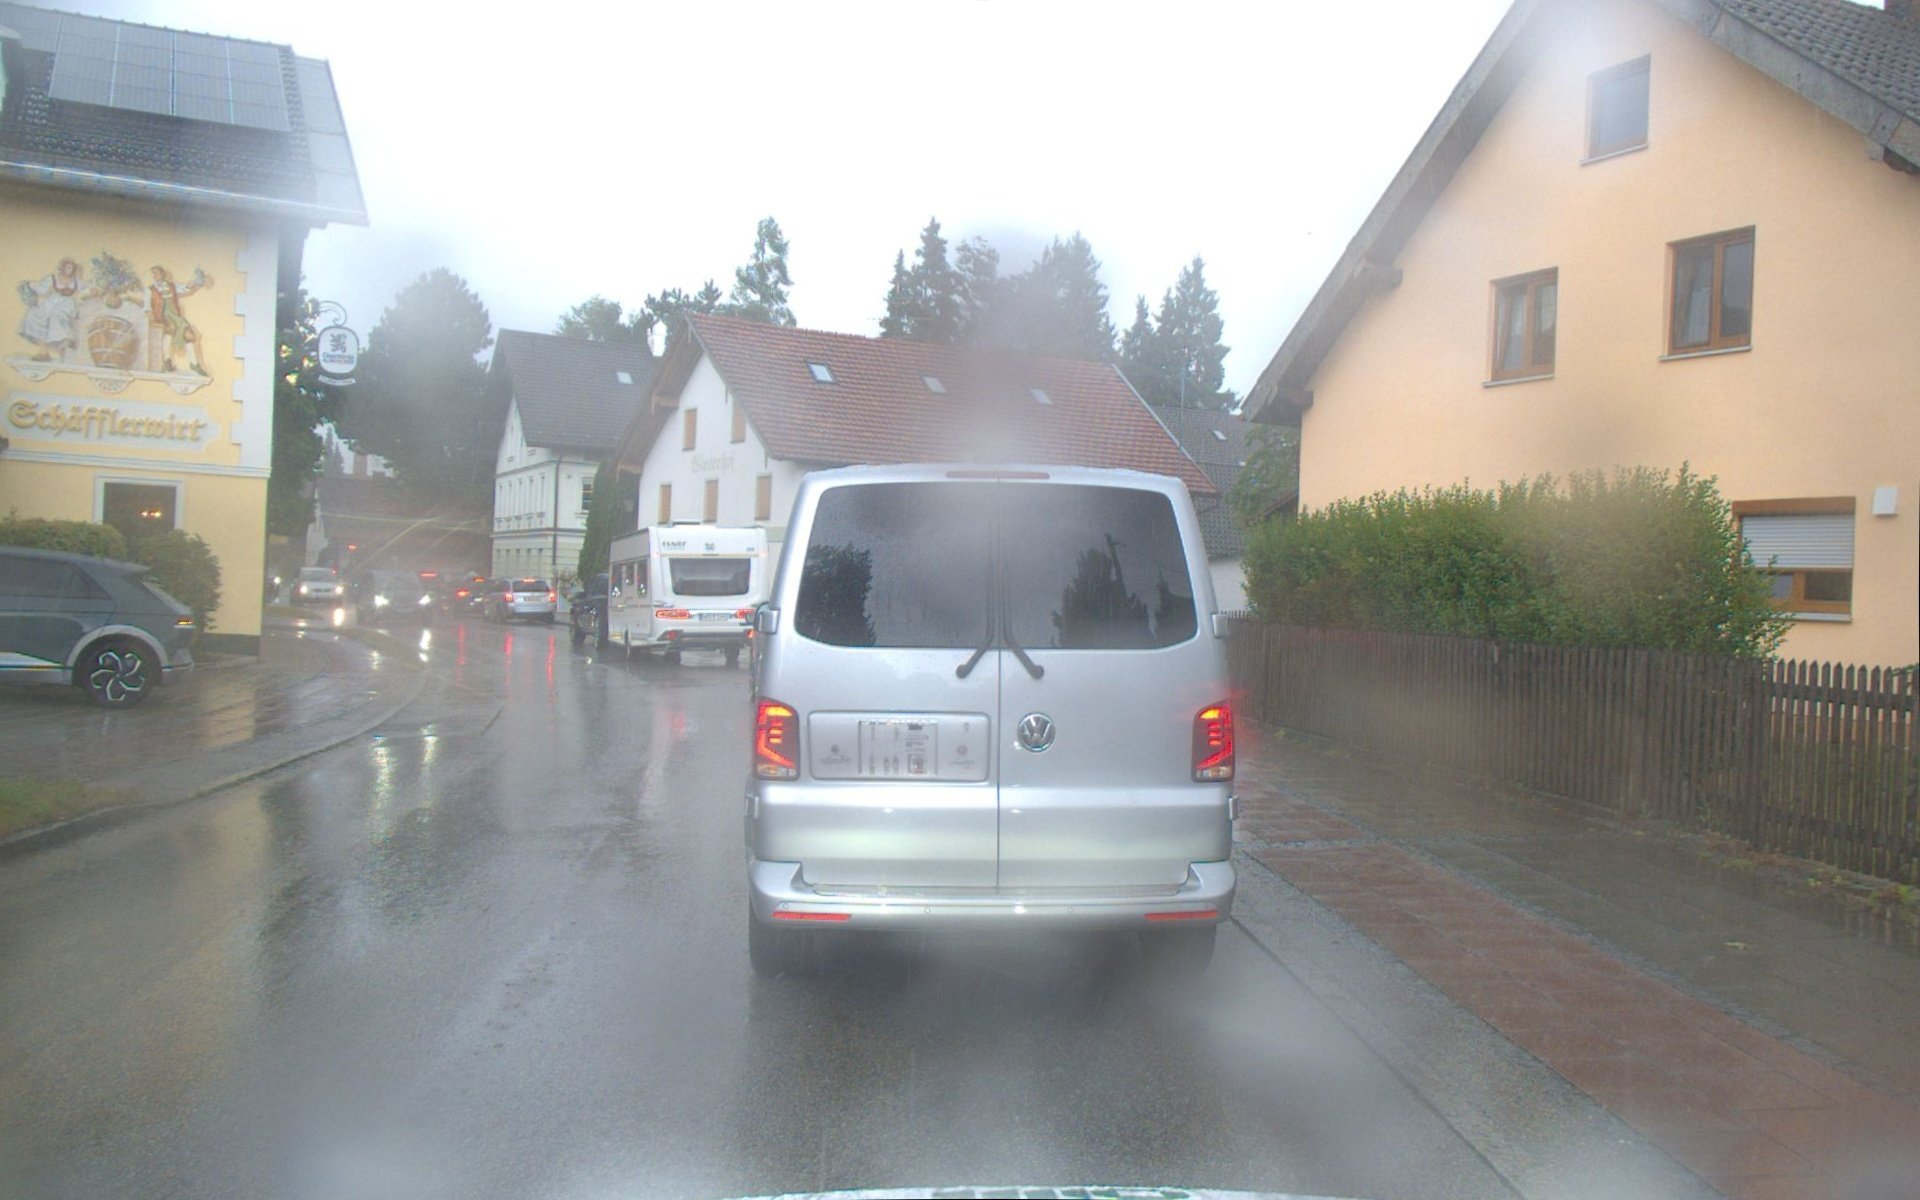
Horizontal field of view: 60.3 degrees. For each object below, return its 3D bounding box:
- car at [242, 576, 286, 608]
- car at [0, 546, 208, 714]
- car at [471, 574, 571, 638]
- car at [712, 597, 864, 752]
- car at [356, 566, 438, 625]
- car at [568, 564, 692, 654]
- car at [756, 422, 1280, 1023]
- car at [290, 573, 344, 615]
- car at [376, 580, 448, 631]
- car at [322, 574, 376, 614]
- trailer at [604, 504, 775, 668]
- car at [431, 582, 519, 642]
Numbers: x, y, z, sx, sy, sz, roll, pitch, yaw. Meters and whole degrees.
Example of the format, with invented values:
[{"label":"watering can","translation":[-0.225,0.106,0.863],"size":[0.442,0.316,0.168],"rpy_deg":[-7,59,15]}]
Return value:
[{"label":"car","translation":[-36.794,-0.410,87.414],"size":[1.572,1.638,3.497],"rpy_deg":[0,0,-33]},{"label":"car","translation":[-10.595,0.228,17.705],"size":[4.427,1.594,1.822],"rpy_deg":[5,1,-29]},{"label":"car","translation":[-14.418,0.180,54.073],"size":[2.143,1.932,4.970],"rpy_deg":[2,-1,-27]},{"label":"car","translation":[-2.207,0.825,20.899],"size":[1.676,1.611,4.678],"rpy_deg":[-1,1,-7]},{"label":"car","translation":[-17.981,-0.155,52.697],"size":[1.900,1.775,4.154],"rpy_deg":[0,0,-27]},{"label":"car","translation":[-7.687,0.182,38.183],"size":[2.024,1.932,5.145],"rpy_deg":[1,0,-20]},{"label":"car","translation":[0.181,0.404,8.065],"size":[1.740,1.997,5.073],"rpy_deg":[0,0,0]},{"label":"car","translation":[-27.260,-0.240,70.076],"size":[1.733,1.707,3.963],"rpy_deg":[0,0,-28]},{"label":"car","translation":[-22.987,0.207,69.259],"size":[2.143,1.932,4.971],"rpy_deg":[2,1,-27]},{"label":"car","translation":[-32.722,-0.356,88.490],"size":[2.143,1.932,4.971],"rpy_deg":[2,1,-27]},{"label":"trailer","translation":[-5.529,-0.268,32.983],"size":[2.238,2.955,6.095],"rpy_deg":[1,0,-20]},{"label":"car","translation":[-17.520,0.400,59.590],"size":[2.143,1.932,4.971],"rpy_deg":[2,1,-27]}]
